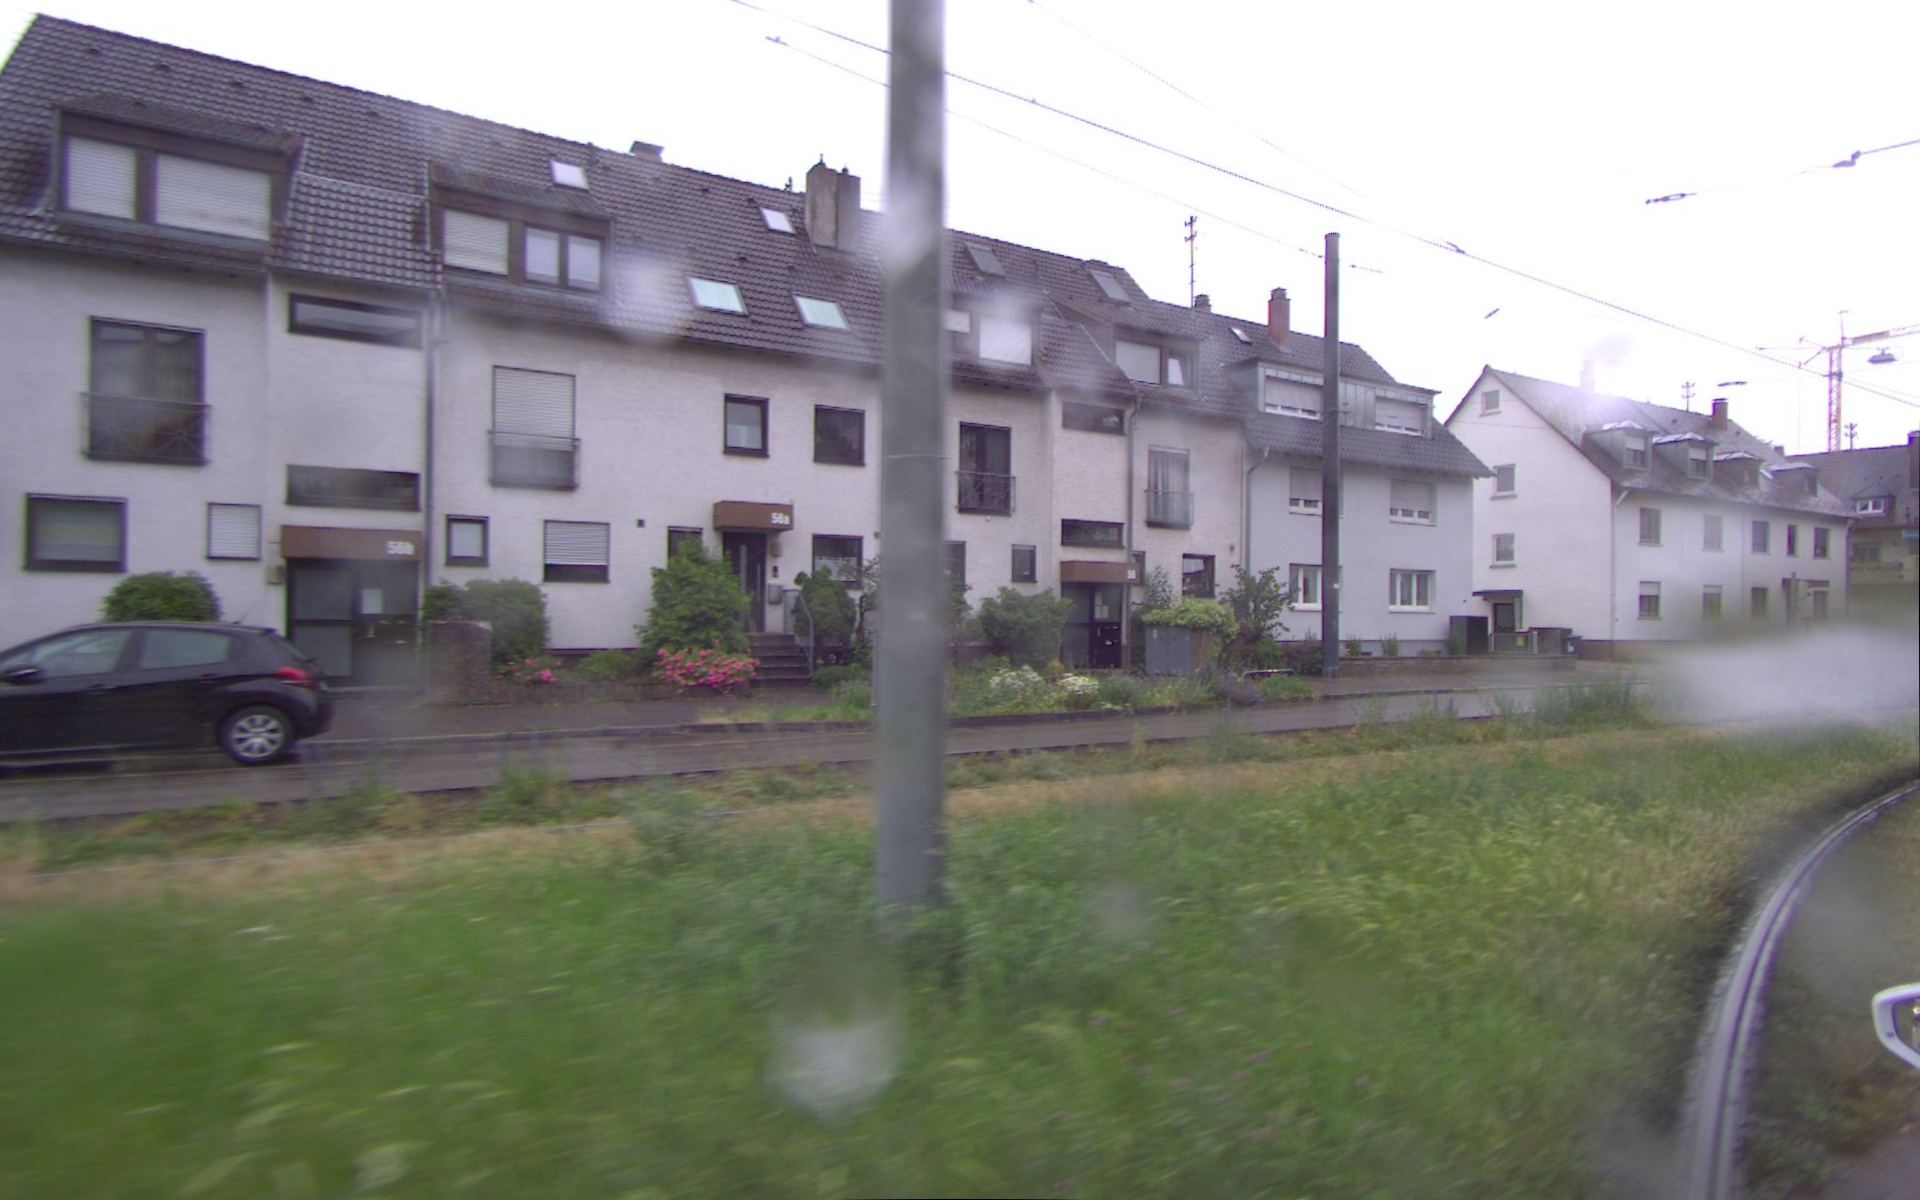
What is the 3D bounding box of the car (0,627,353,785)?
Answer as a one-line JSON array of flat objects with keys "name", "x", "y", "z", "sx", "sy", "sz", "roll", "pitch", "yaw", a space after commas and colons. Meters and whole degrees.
[{"name": "car", "x": -8.567, "y": 1.000, "z": 10.320, "sx": 3.890, "sy": 1.445, "sz": 1.765, "roll": 1, "pitch": -2, "yaw": -29}]
